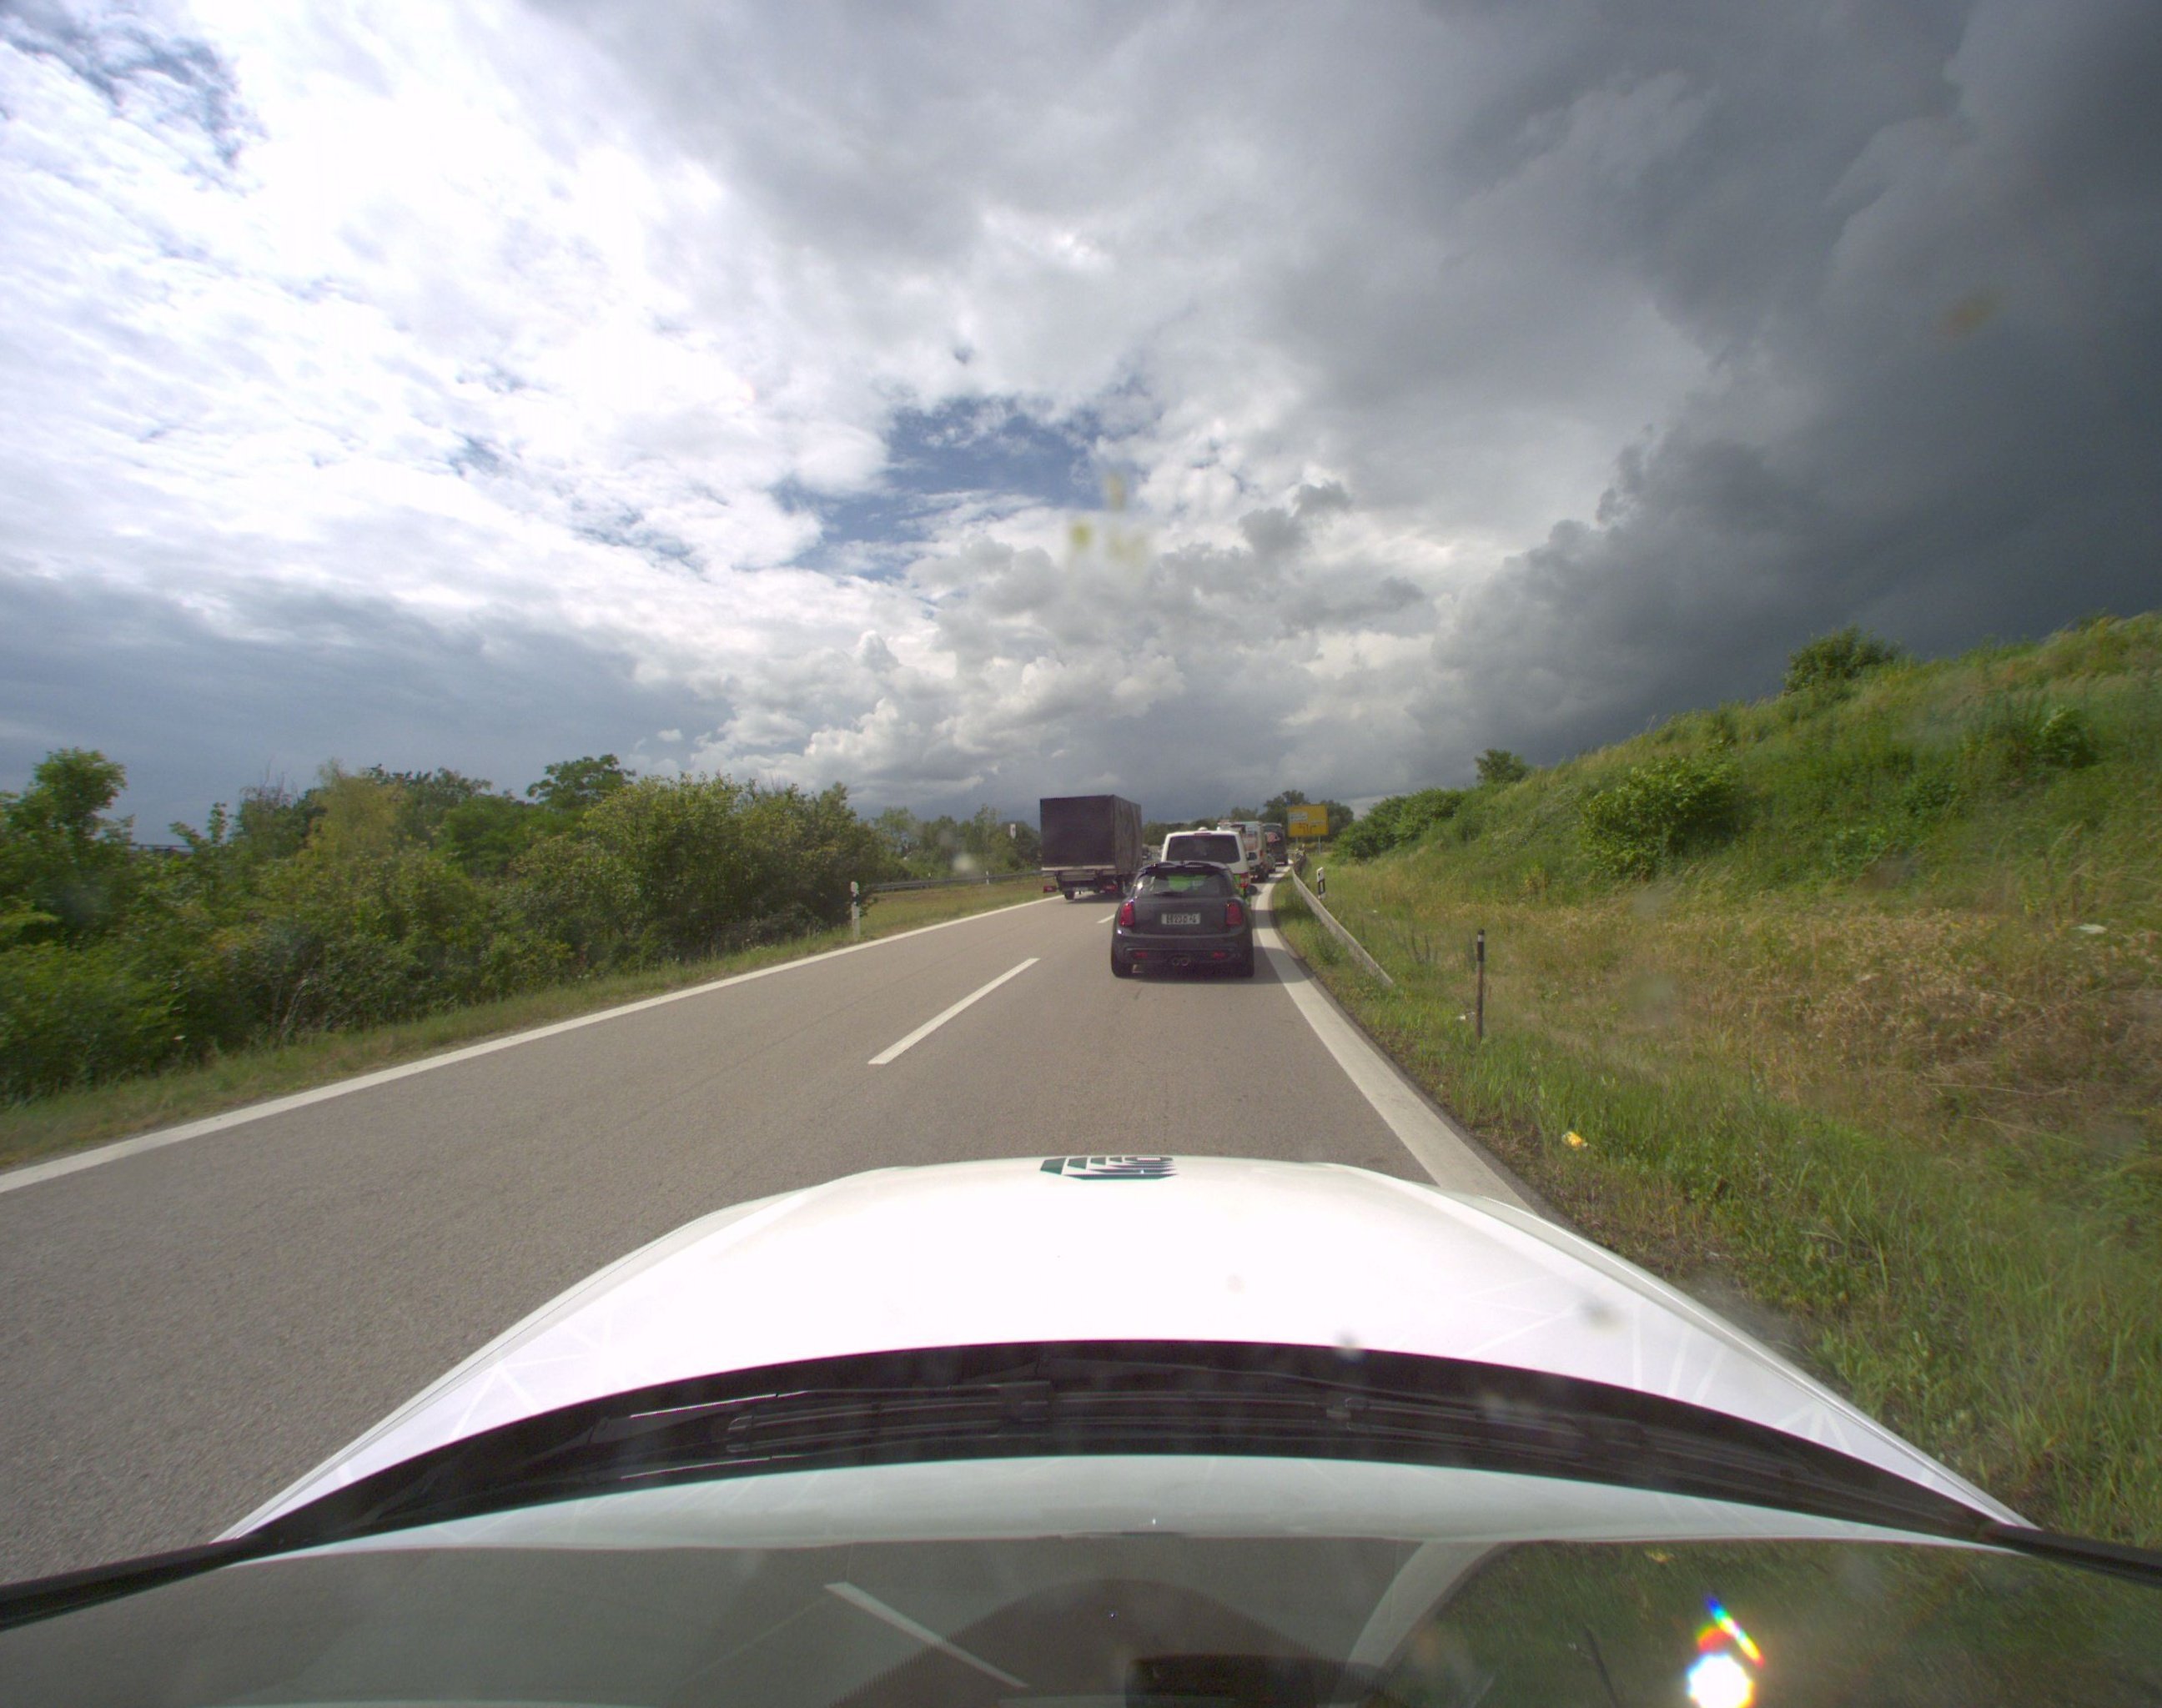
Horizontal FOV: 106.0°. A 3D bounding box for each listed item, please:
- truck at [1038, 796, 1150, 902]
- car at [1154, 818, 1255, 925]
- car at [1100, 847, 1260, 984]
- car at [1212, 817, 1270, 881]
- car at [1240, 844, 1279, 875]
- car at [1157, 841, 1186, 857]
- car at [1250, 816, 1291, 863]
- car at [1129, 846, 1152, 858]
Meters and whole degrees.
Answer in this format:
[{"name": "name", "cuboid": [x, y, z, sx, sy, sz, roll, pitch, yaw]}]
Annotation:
[{"name": "truck", "cuboid": [0.682, -0.102, 28.266, 2.543, 3.168, 7.491, -1, -1, 11]}, {"name": "car", "cuboid": [2.833, 0.356, 17.913, 1.898, 2.045, 4.195, -1, 0, 12]}, {"name": "car", "cuboid": [1.454, 0.709, 11.189, 1.788, 1.546, 3.749, -1, 0, 10]}, {"name": "car", "cuboid": [7.147, -0.165, 35.999, 2.196, 2.622, 5.555, -1, -1, 14]}, {"name": "car", "cuboid": [9.857, 0.305, 44.849, 1.979, 1.642, 3.943, -1, -1, 14]}, {"name": "car", "cuboid": [13.253, -0.691, 119.171, 2.297, 2.260, 5.073, 0, -1, -19]}, {"name": "car", "cuboid": [13.263, -0.892, 56.724, 2.293, 3.069, 6.691, -1, -1, 17]}, {"name": "car", "cuboid": [9.241, -0.288, 127.087, 1.929, 1.838, 4.286, 0, -1, -22]}]
